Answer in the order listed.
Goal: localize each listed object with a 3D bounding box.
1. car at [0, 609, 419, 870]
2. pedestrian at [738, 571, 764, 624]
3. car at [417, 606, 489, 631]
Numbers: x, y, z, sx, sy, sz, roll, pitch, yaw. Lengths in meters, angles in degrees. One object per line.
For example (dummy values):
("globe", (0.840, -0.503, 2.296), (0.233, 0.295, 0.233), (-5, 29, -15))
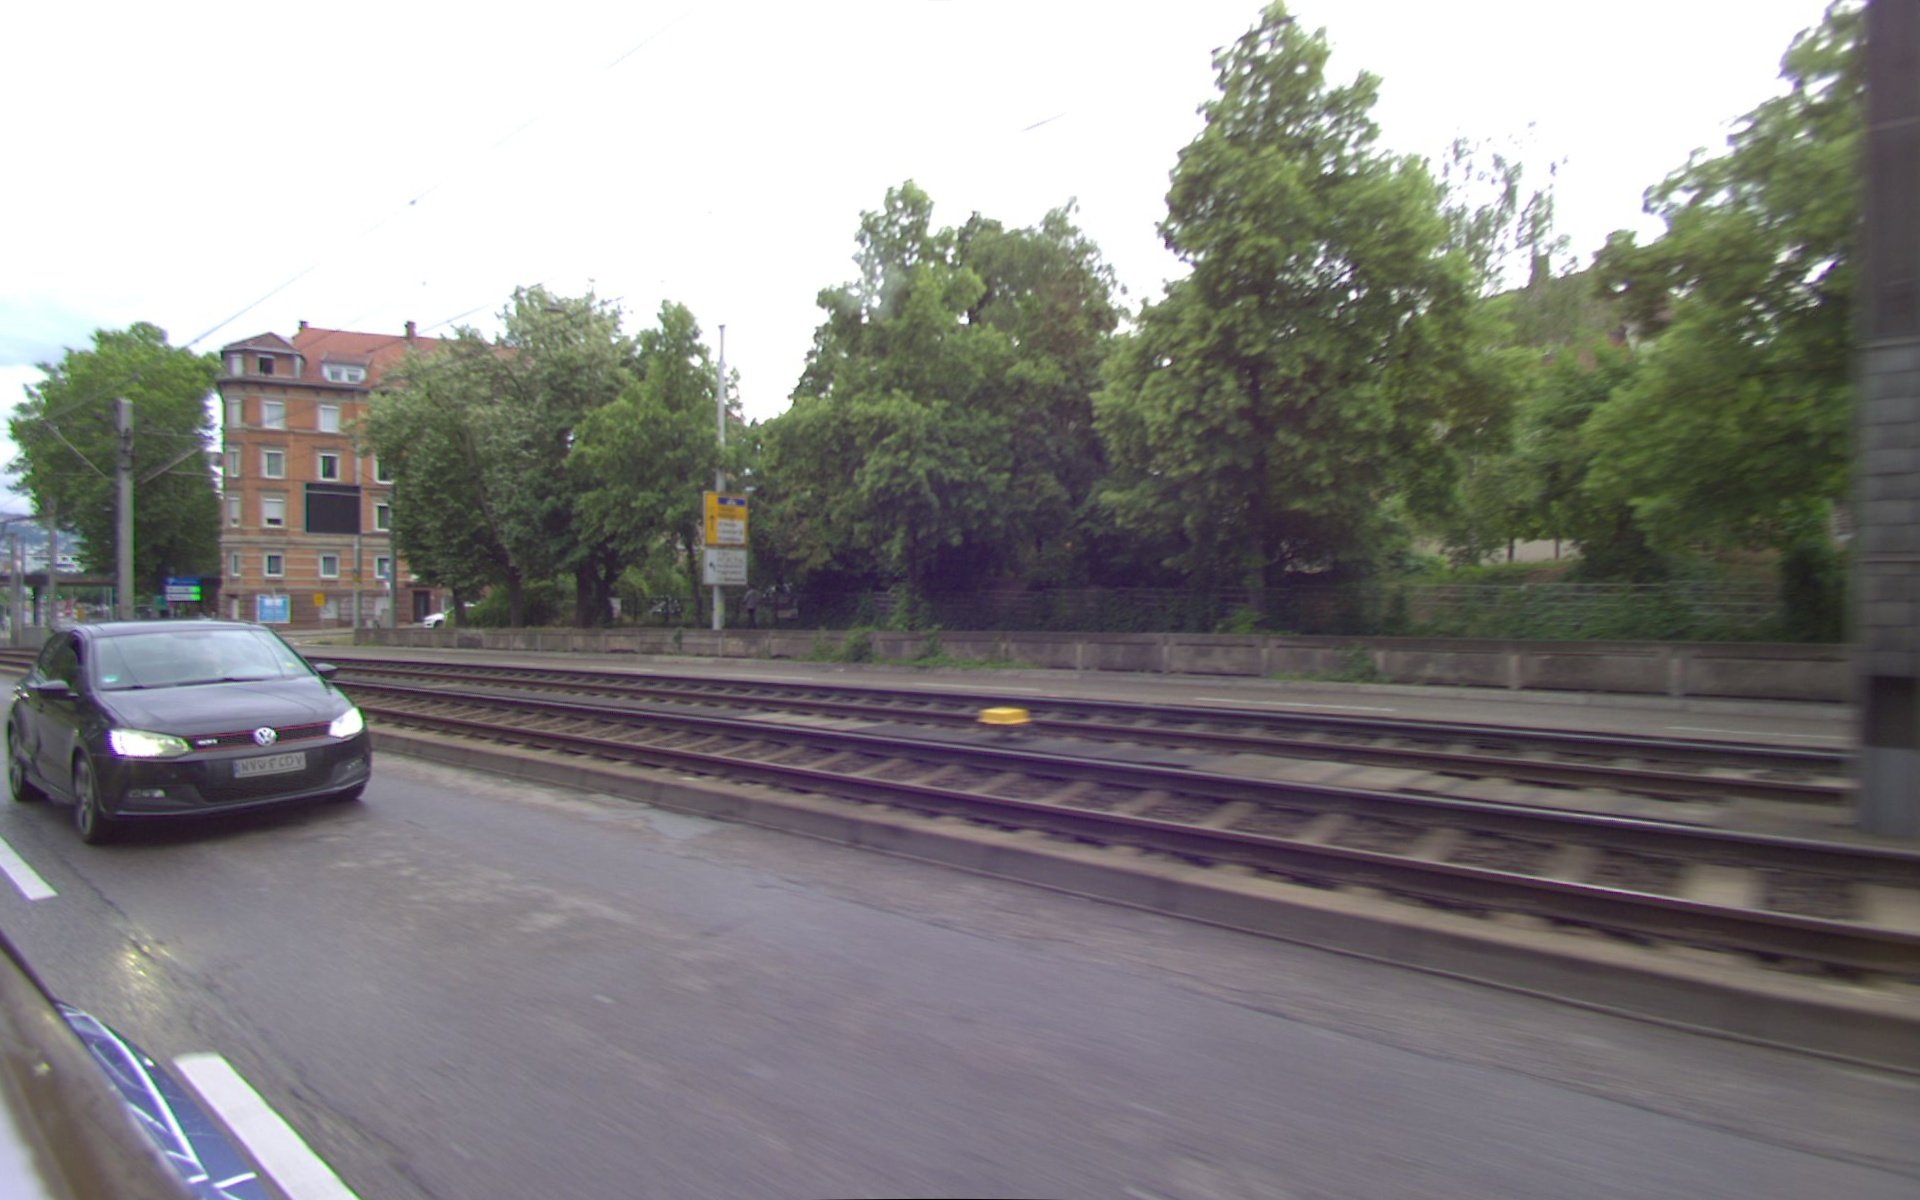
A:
("car", (-5.984, 0.852, 7.776), (3.958, 1.497, 1.777), (-1, -1, 38))
("pedestrian", (-7.593, -0.100, 36.734), (0.653, 1.917, 0.590), (-1, 1, 38))
("car", (-35.052, 1.273, 70.012), (4.362, 1.610, 1.847), (-1, 0, -29))
